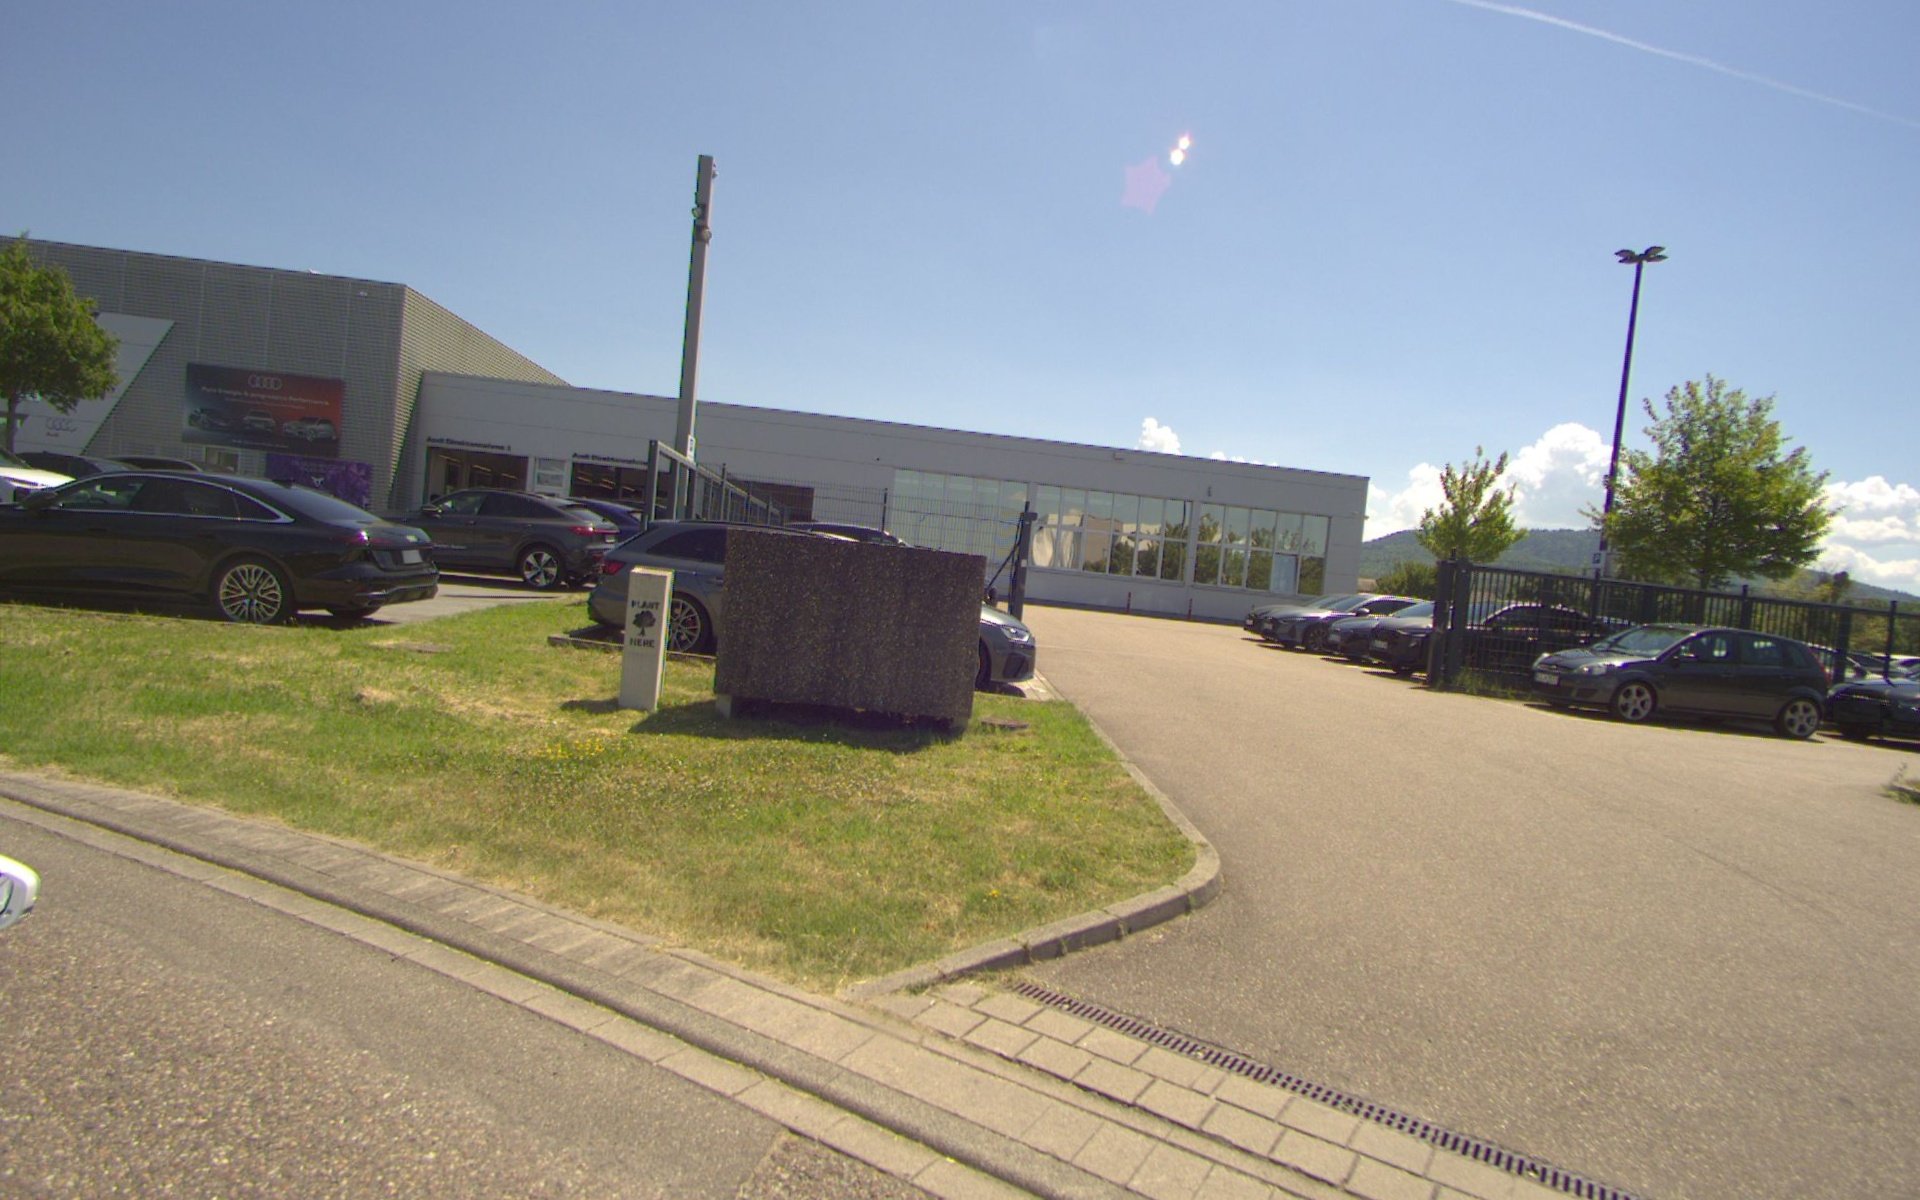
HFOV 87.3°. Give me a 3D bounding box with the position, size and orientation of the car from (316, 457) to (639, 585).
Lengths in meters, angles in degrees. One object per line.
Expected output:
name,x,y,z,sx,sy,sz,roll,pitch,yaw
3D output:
car,-8.355,-1.333,17.764,4.699,1.665,1.828,6,2,-4

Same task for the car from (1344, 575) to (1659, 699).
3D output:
car,9.695,0.620,18.266,4.542,1.652,1.964,6,3,-4

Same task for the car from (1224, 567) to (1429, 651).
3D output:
car,9.568,0.213,26.505,4.542,1.652,1.964,6,3,-4

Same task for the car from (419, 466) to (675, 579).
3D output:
car,-8.240,-1.515,20.399,4.337,1.717,1.828,6,2,-4

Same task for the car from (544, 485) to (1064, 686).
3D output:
car,-1.519,-0.155,10.638,4.855,1.487,1.964,5,2,-4

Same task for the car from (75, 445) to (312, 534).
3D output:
car,-20.286,-2.887,26.796,4.643,1.763,1.964,6,3,-4

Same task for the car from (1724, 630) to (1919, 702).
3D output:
car,24.927,1.885,29.187,3.929,1.577,2.108,5,2,-7

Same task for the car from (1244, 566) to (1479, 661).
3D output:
car,9.233,0.283,23.406,4.542,1.652,1.964,6,3,-4

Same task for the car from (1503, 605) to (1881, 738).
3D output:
car,10.465,0.986,14.606,4.068,1.368,1.778,5,3,-1

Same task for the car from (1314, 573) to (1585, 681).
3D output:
car,10.047,0.515,20.898,4.542,1.652,1.964,6,3,-4

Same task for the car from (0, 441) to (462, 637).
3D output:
car,-8.090,-0.696,10.301,4.933,1.475,1.881,6,4,-4

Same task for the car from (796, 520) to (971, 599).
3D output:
car,-2.085,-1.113,27.849,4.542,1.652,1.964,6,3,-4

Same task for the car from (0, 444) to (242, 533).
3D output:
car,-19.118,-2.486,22.717,4.293,1.497,1.964,6,3,-4

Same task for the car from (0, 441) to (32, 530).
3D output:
car,-19.561,-2.267,17.440,4.915,1.574,1.964,6,3,-4

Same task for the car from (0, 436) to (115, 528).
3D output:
car,-19.885,-2.503,20.097,4.211,1.635,1.964,6,3,-4

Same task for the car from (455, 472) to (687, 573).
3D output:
car,-8.930,-1.798,23.402,4.542,1.768,1.962,6,5,-4

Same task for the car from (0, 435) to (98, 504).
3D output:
car,-25.861,-3.591,26.633,4.345,1.614,1.964,6,4,-1

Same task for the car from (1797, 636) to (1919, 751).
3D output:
car,15.189,1.507,14.595,4.488,1.421,1.778,5,3,-1

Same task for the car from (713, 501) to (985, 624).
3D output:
car,-1.956,-0.685,18.291,4.542,1.652,1.964,6,3,-4

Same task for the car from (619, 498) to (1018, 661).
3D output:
car,-1.798,-0.284,13.485,4.855,1.550,1.822,6,3,-4

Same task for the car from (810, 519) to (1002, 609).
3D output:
car,-1.289,-0.877,24.187,4.298,1.652,1.964,6,3,-4
